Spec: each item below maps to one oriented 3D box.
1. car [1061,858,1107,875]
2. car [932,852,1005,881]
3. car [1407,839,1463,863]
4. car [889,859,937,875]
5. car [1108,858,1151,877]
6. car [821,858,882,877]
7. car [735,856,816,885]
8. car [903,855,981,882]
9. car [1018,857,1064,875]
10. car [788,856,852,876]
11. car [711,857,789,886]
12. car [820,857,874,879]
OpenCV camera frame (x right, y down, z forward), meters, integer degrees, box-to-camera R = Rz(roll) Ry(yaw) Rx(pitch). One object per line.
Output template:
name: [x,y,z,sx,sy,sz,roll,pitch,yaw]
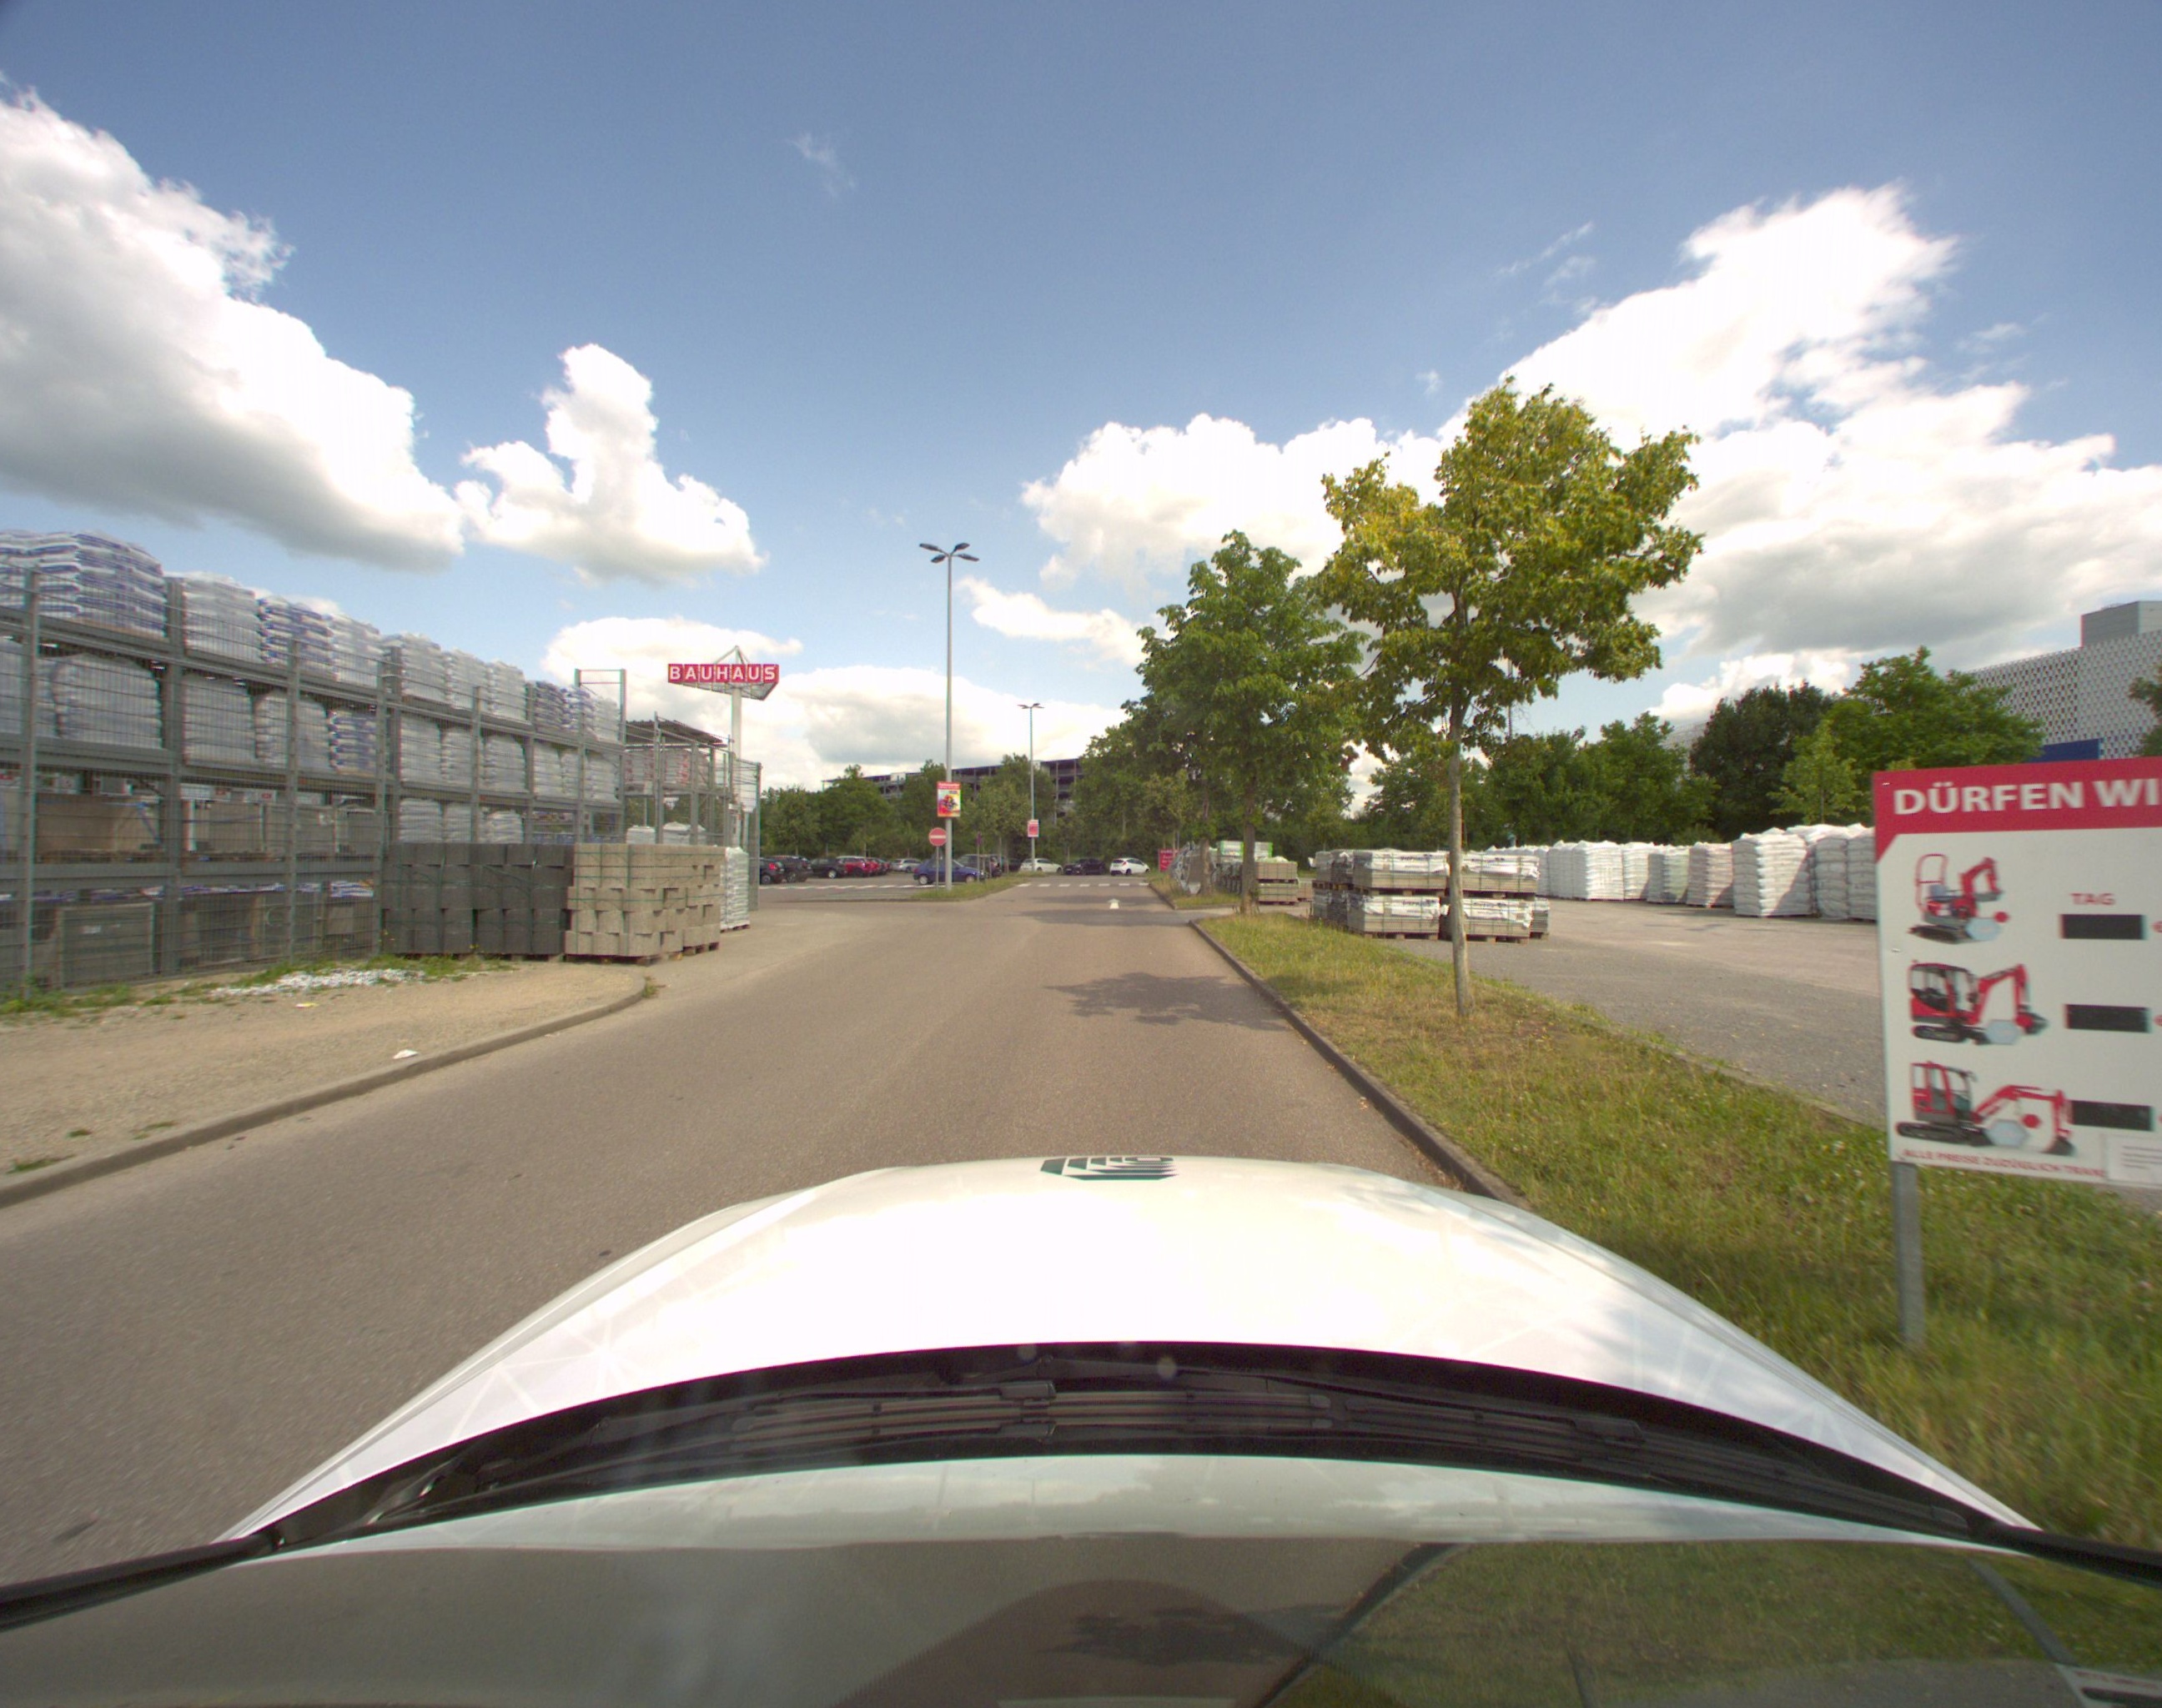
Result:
car: [0.262,1.045,68.914,1.711,1.410,4.270,0,0,37]
car: [-6.549,0.733,47.776,3.932,1.624,1.738,0,0,4]
car: [30.309,-0.220,69.760,3.949,2.014,2.012,0,0,42]
car: [-16.665,1.276,80.815,1.761,1.504,4.684,0,0,36]
car: [3.944,1.072,65.785,1.649,1.411,3.579,0,0,41]
car: [-17.299,1.038,61.431,4.062,1.399,1.766,0,0,0]
car: [-18.043,0.961,48.209,4.057,1.624,1.784,0,0,0]
car: [-7.239,0.737,42.710,3.736,1.368,1.622,0,0,2]
car: [-3.489,1.016,71.555,1.668,1.510,4.107,-2,-1,40]
car: [-18.005,0.828,56.258,3.859,1.369,1.728,0,0,-1]
car: [-18.612,0.966,45.889,3.687,1.624,1.781,0,0,-4]
car: [-16.885,0.976,58.885,3.425,1.581,1.709,0,0,0]
